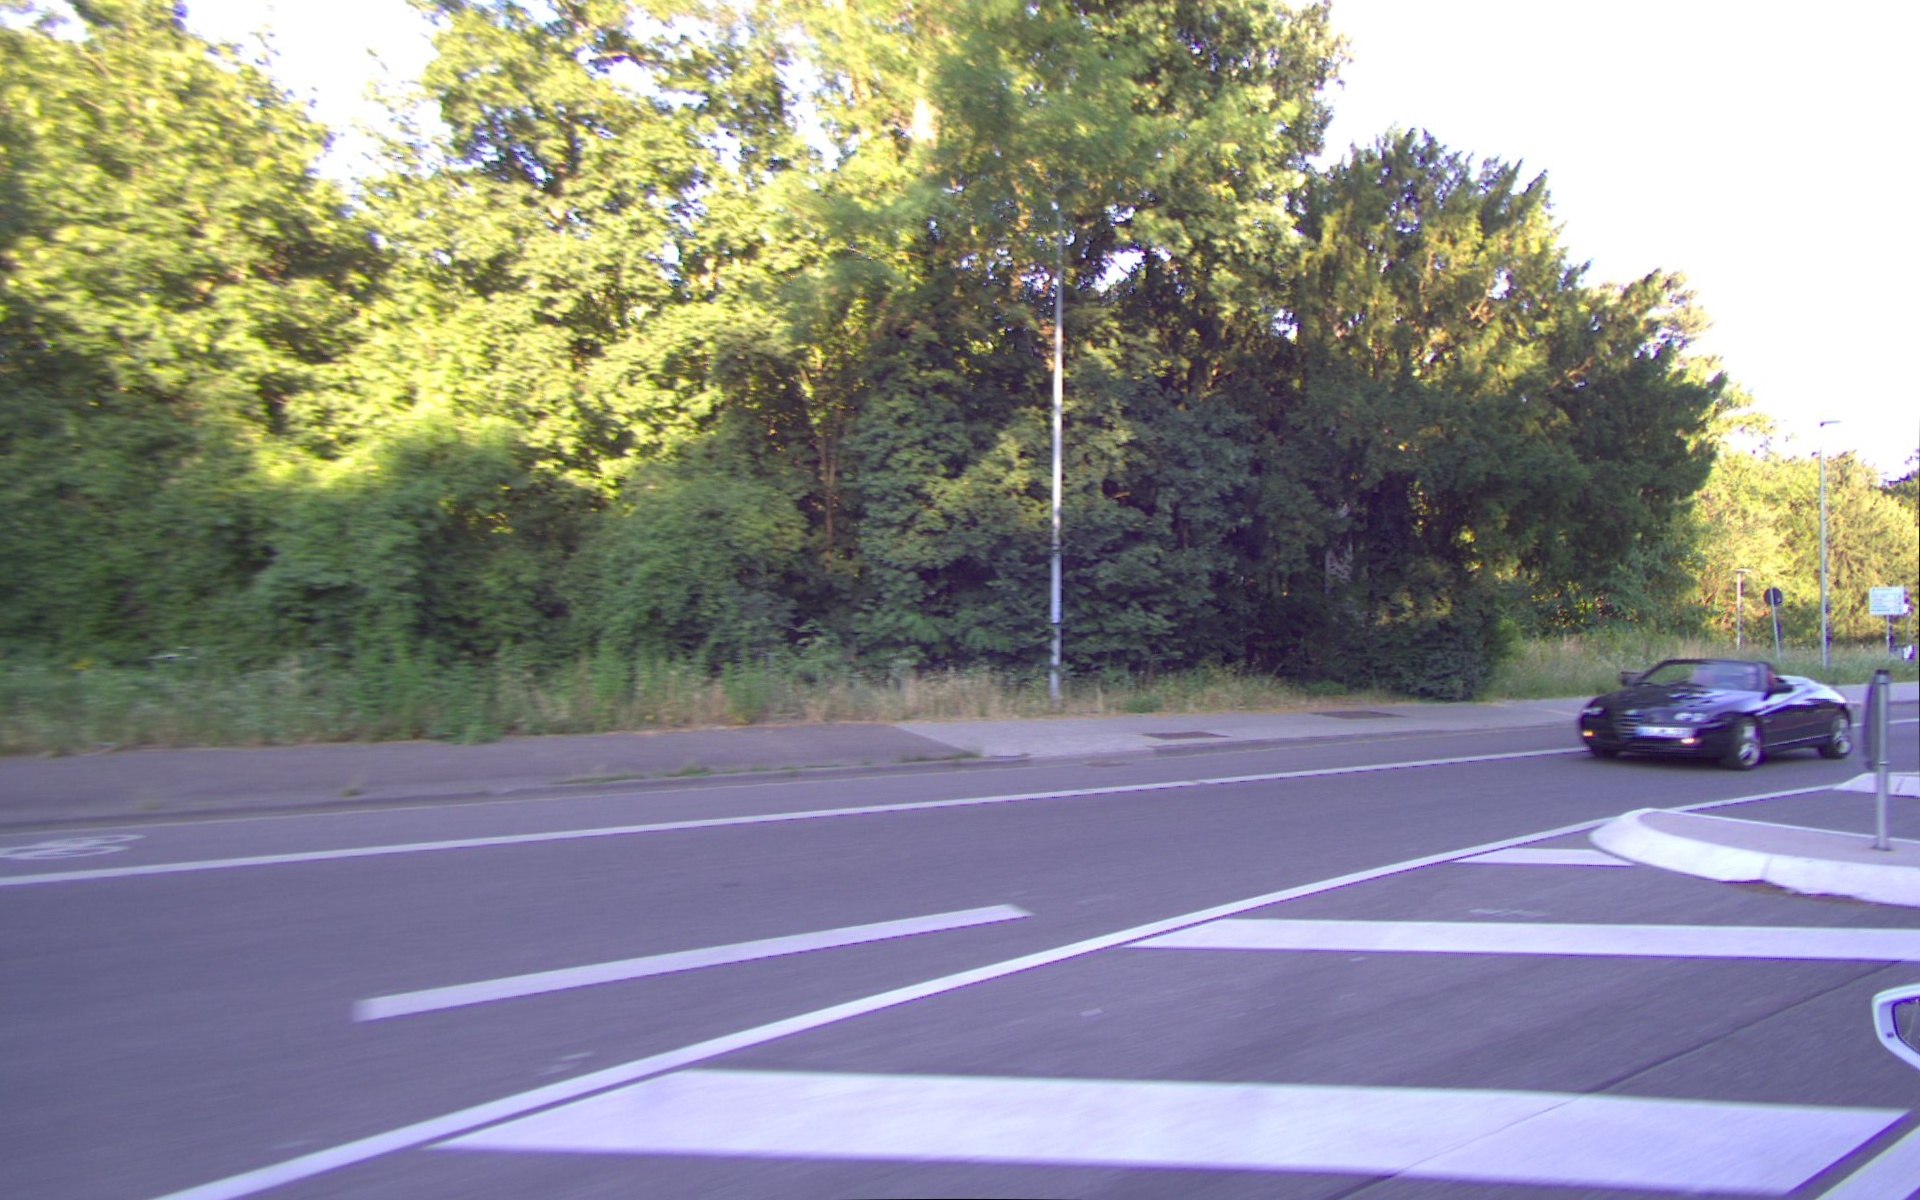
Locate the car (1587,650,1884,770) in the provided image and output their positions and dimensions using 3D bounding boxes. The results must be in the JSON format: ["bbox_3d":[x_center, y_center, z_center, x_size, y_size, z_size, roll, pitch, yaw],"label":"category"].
[{"bbox_3d":[10.213,1.341,13.183,3.953,1.323,1.741,2,-2,-30],"label":"car"}]
